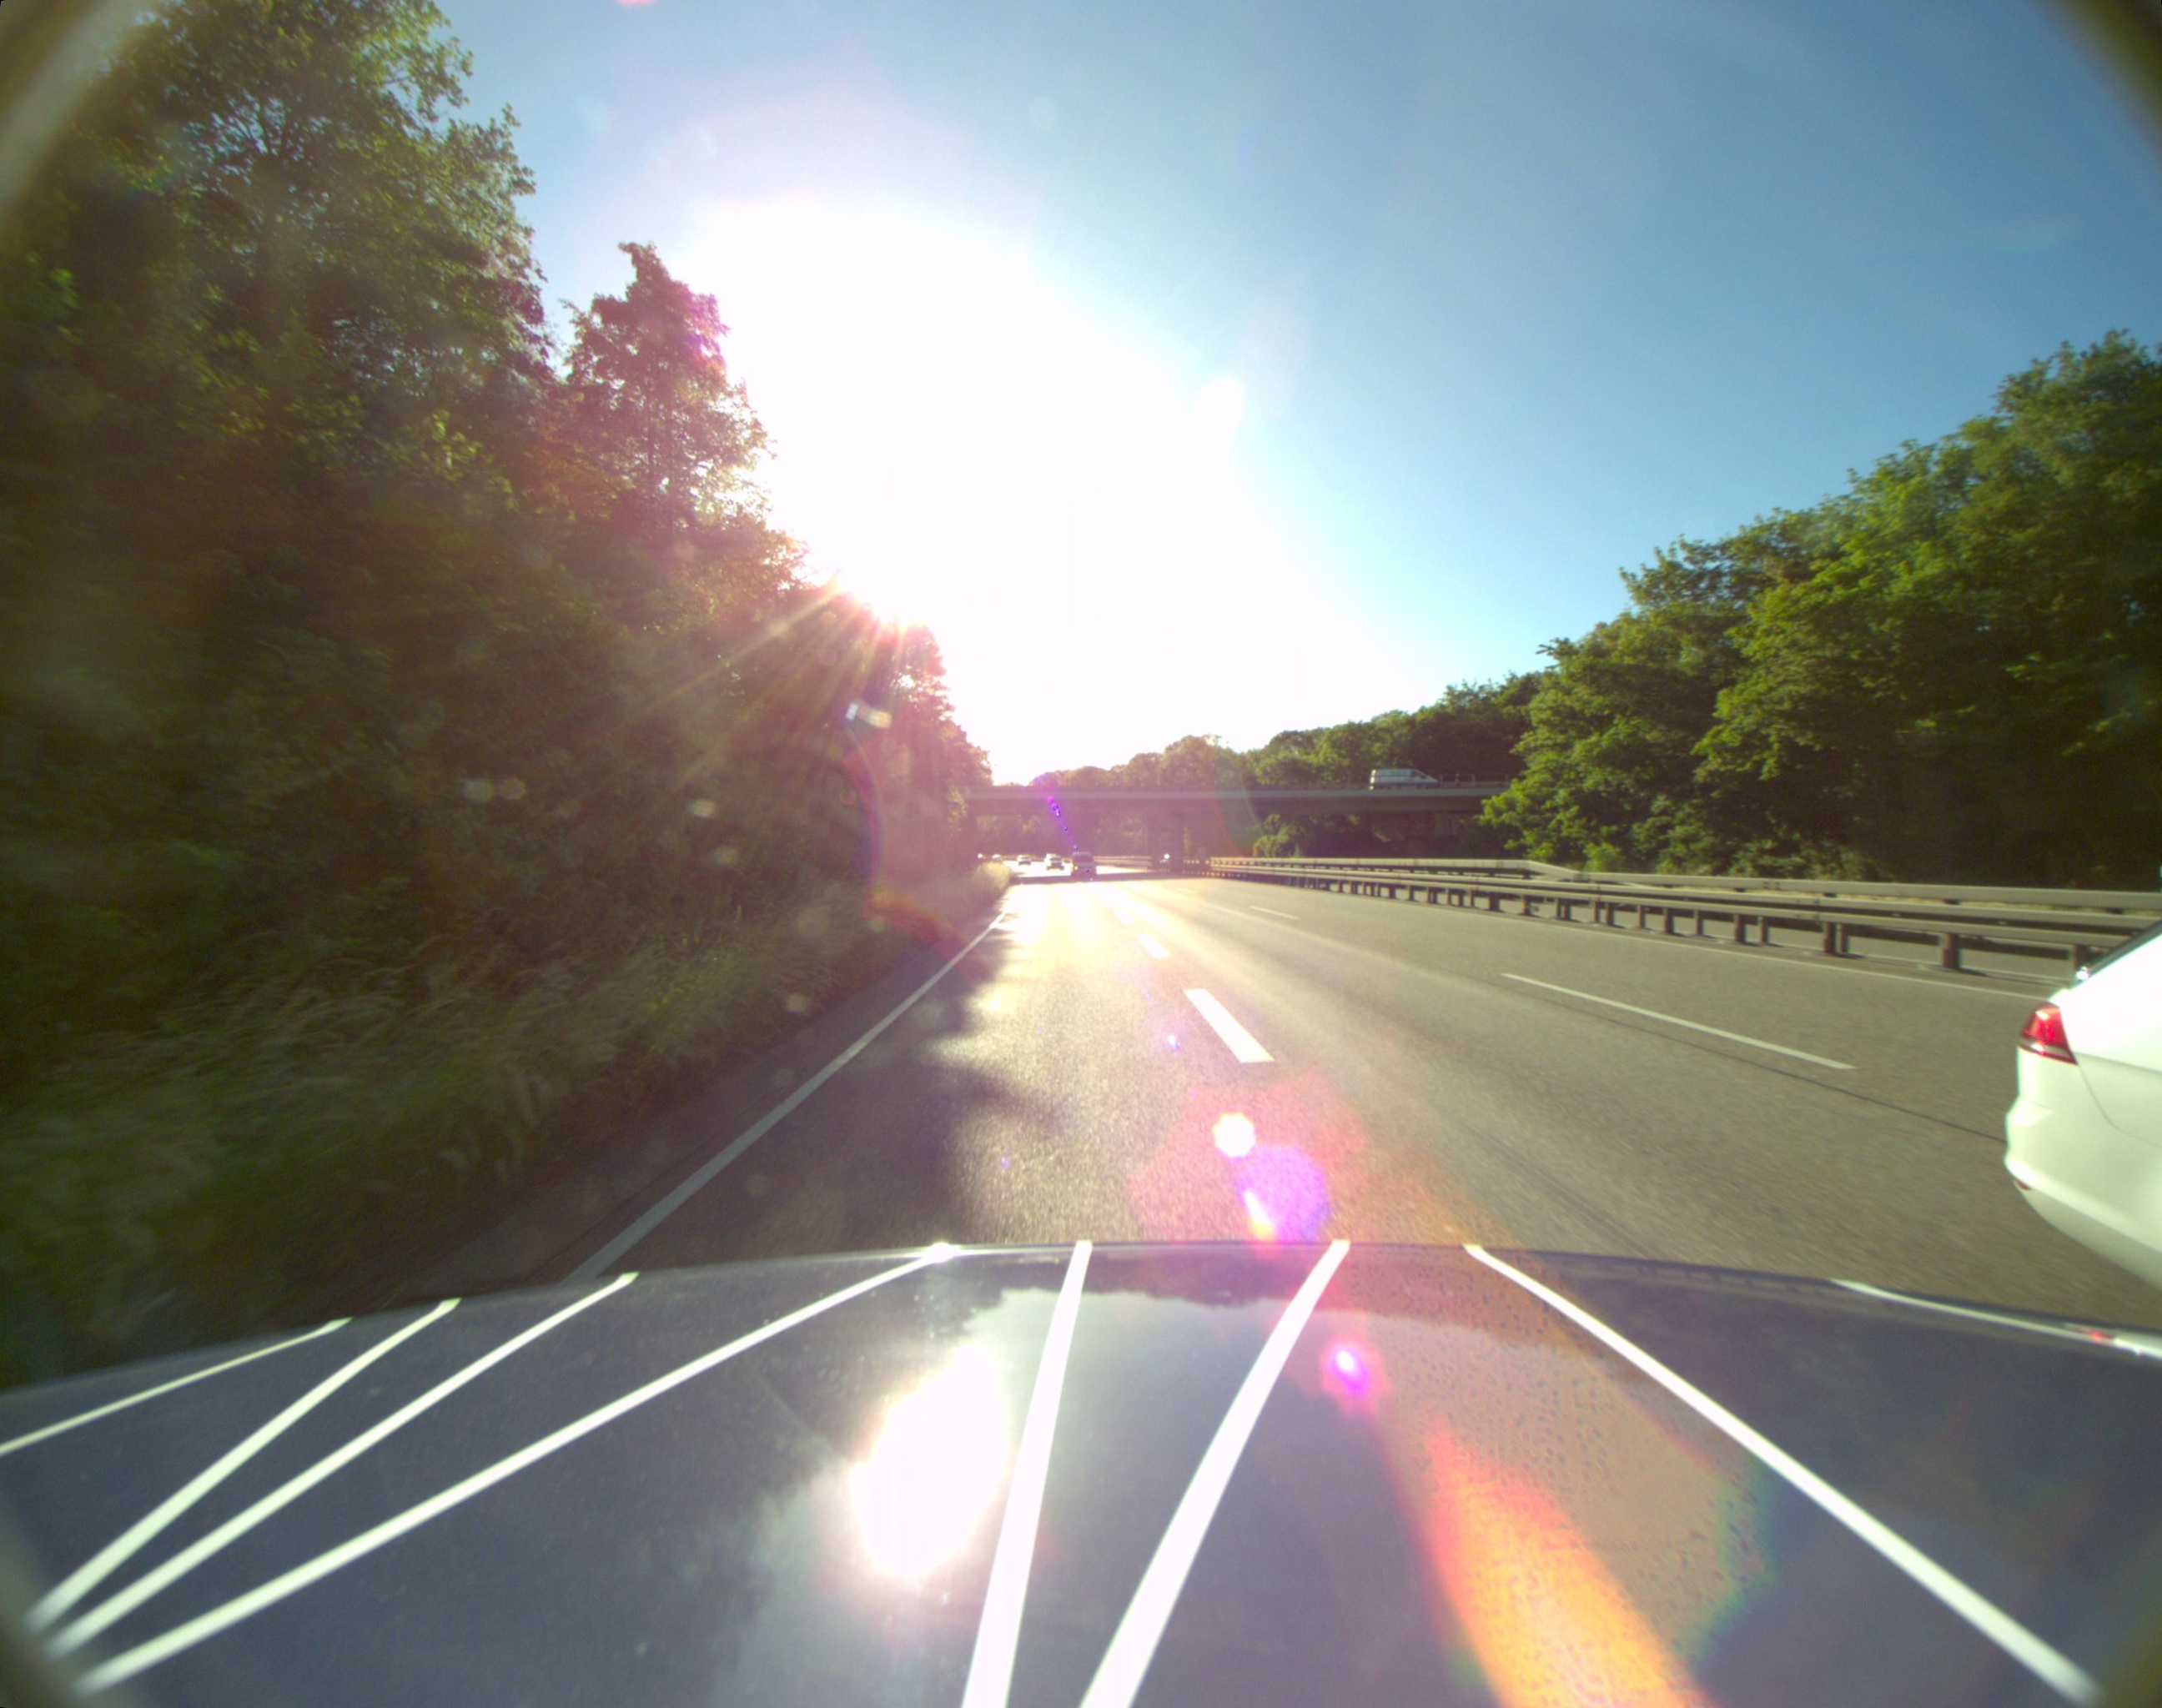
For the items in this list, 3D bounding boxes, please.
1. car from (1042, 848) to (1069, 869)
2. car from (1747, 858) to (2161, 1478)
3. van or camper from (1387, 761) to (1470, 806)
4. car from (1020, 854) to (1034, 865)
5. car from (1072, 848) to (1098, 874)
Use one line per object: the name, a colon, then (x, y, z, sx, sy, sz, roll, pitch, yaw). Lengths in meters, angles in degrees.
car: (-2.711, 0.396, 80.396, 2.258, 1.843, 5.135, -2, 3, -8)
car: (3.655, 0.807, 0.280, 1.934, 1.499, 5.599, -2, 0, 1)
van or camper: (26.564, -5.368, 58.242, 5.450, 3.165, 2.000, -1, 5, 13)
car: (-8.059, 0.822, 113.555, 1.935, 1.499, 5.082, -1, 1, -6)
car: (0.252, 0.498, 58.105, 1.800, 1.797, 4.831, -2, 1, -1)
